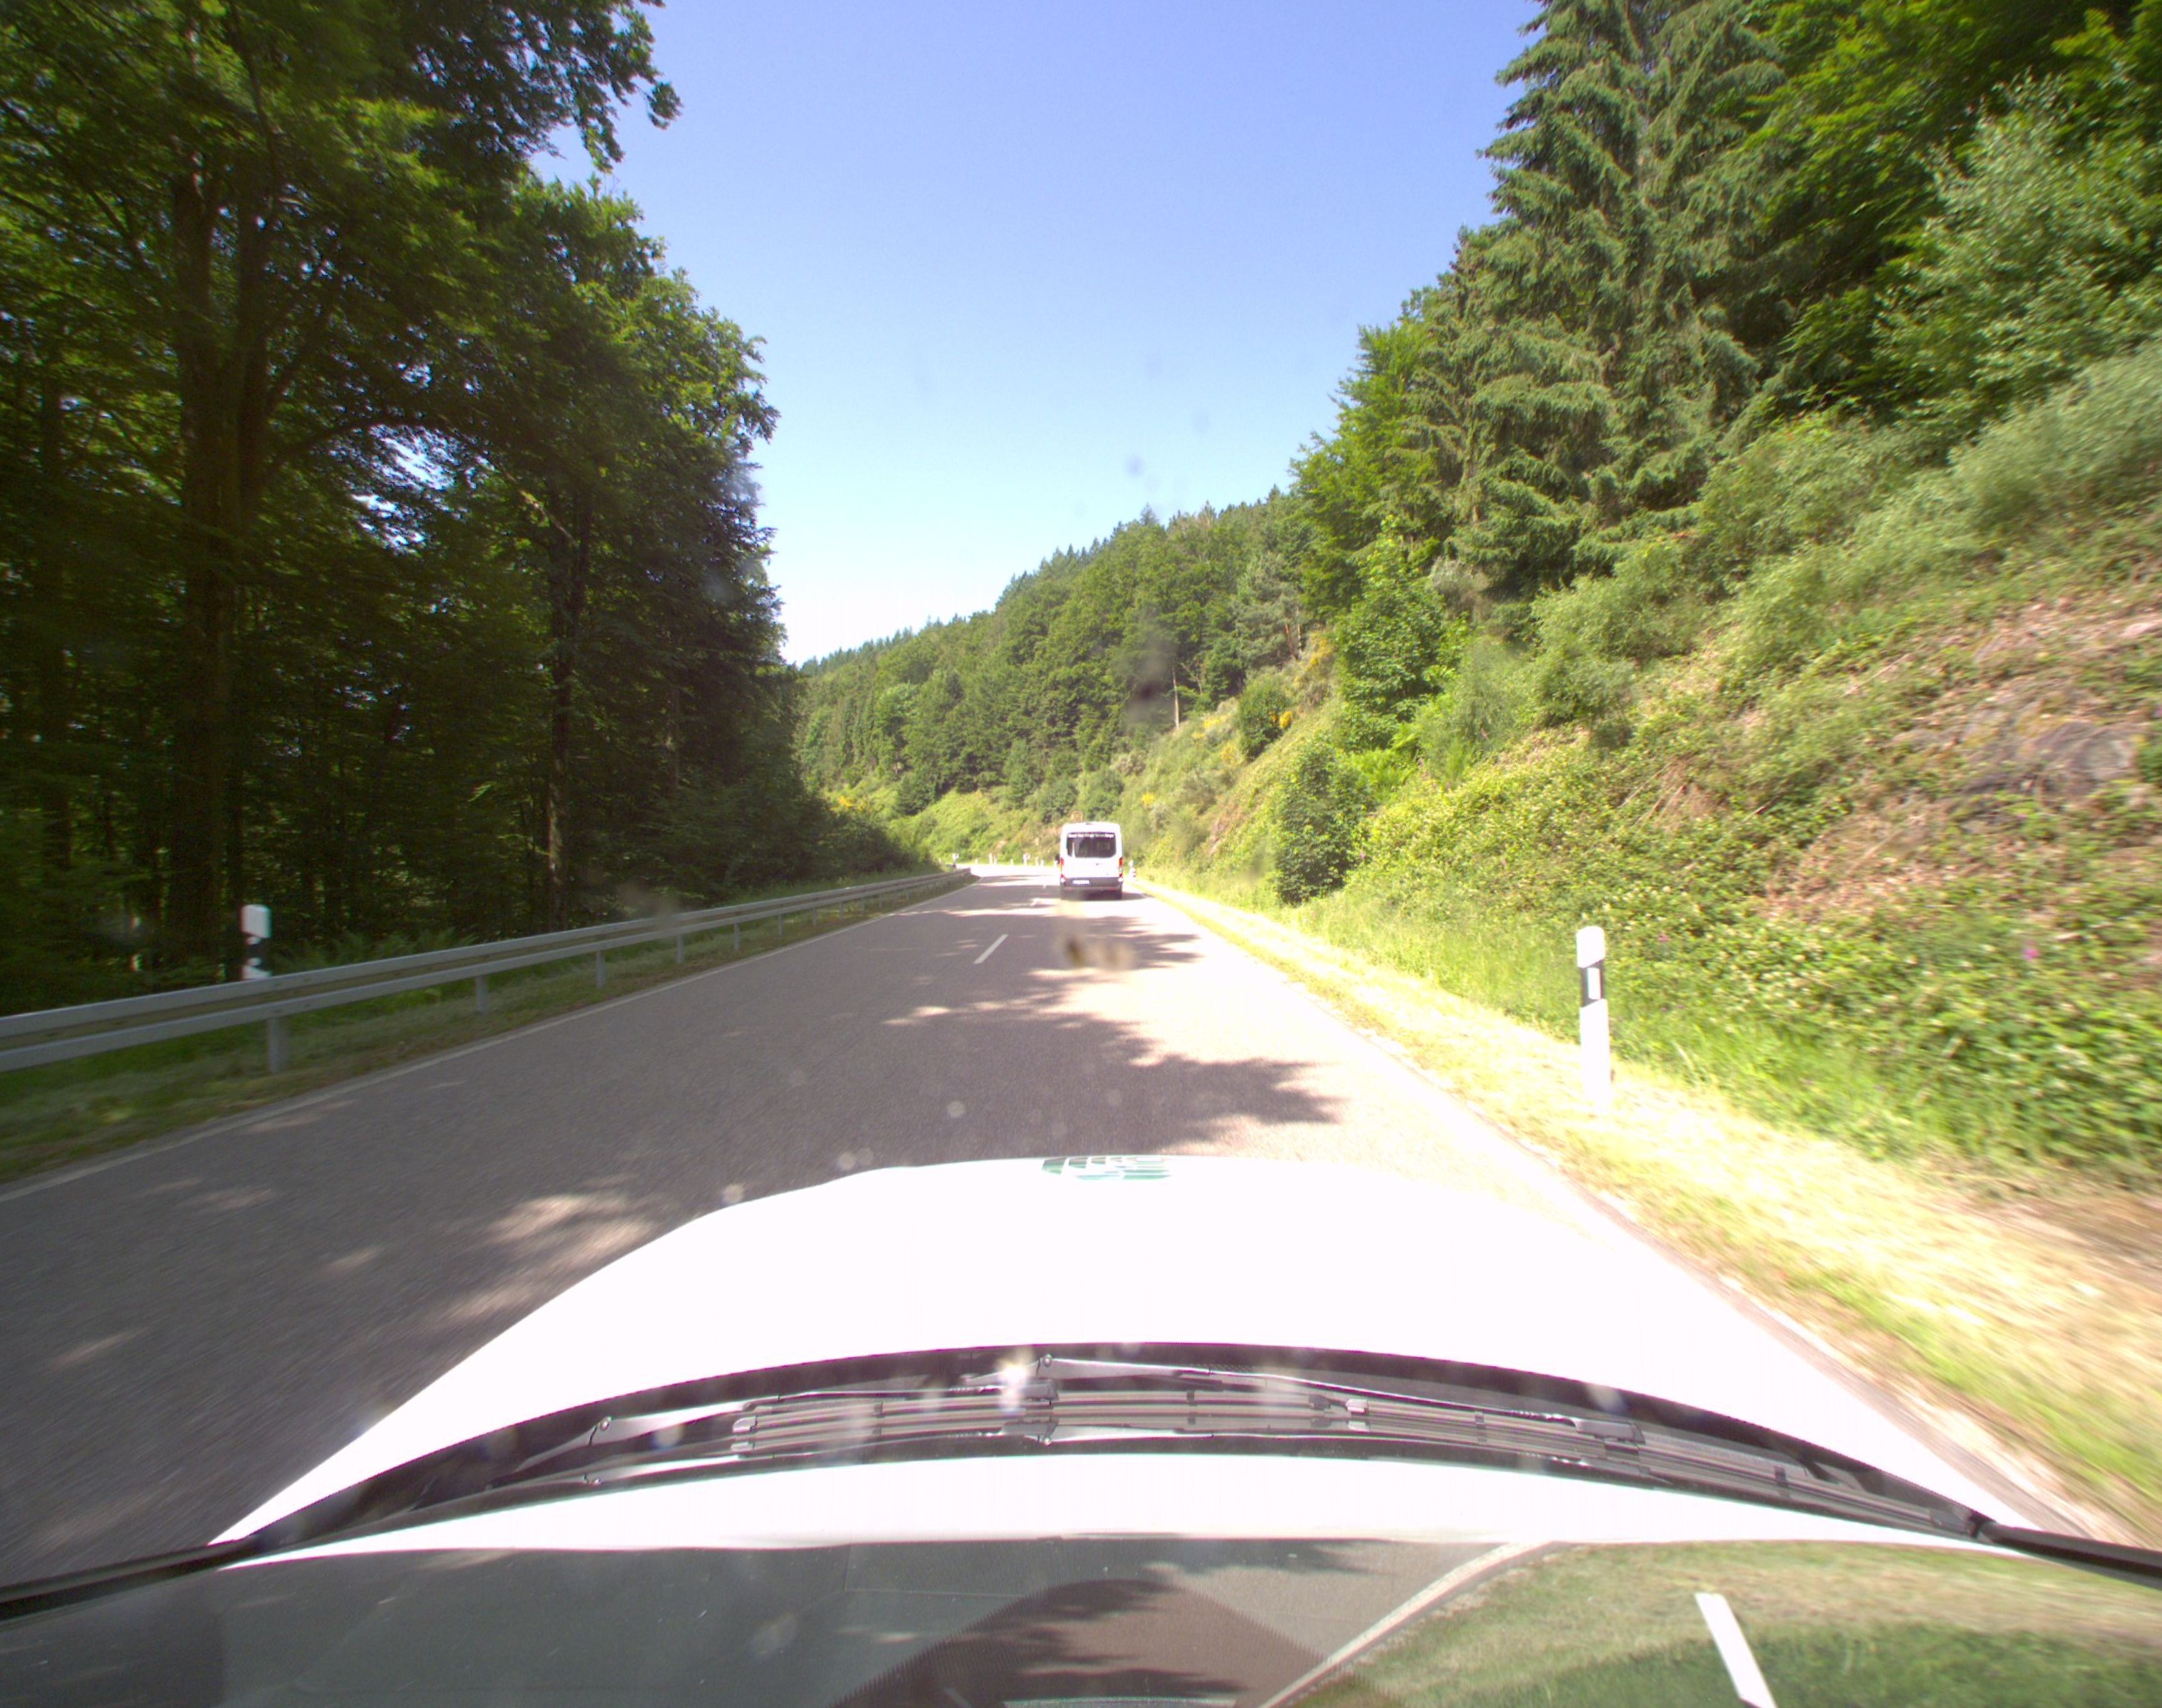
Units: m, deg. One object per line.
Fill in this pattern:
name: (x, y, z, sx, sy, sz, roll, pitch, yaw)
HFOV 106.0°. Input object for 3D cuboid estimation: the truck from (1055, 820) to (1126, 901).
truck: (0.224, 0.198, 27.627, 2.079, 2.459, 4.870, -1, 0, -3)
